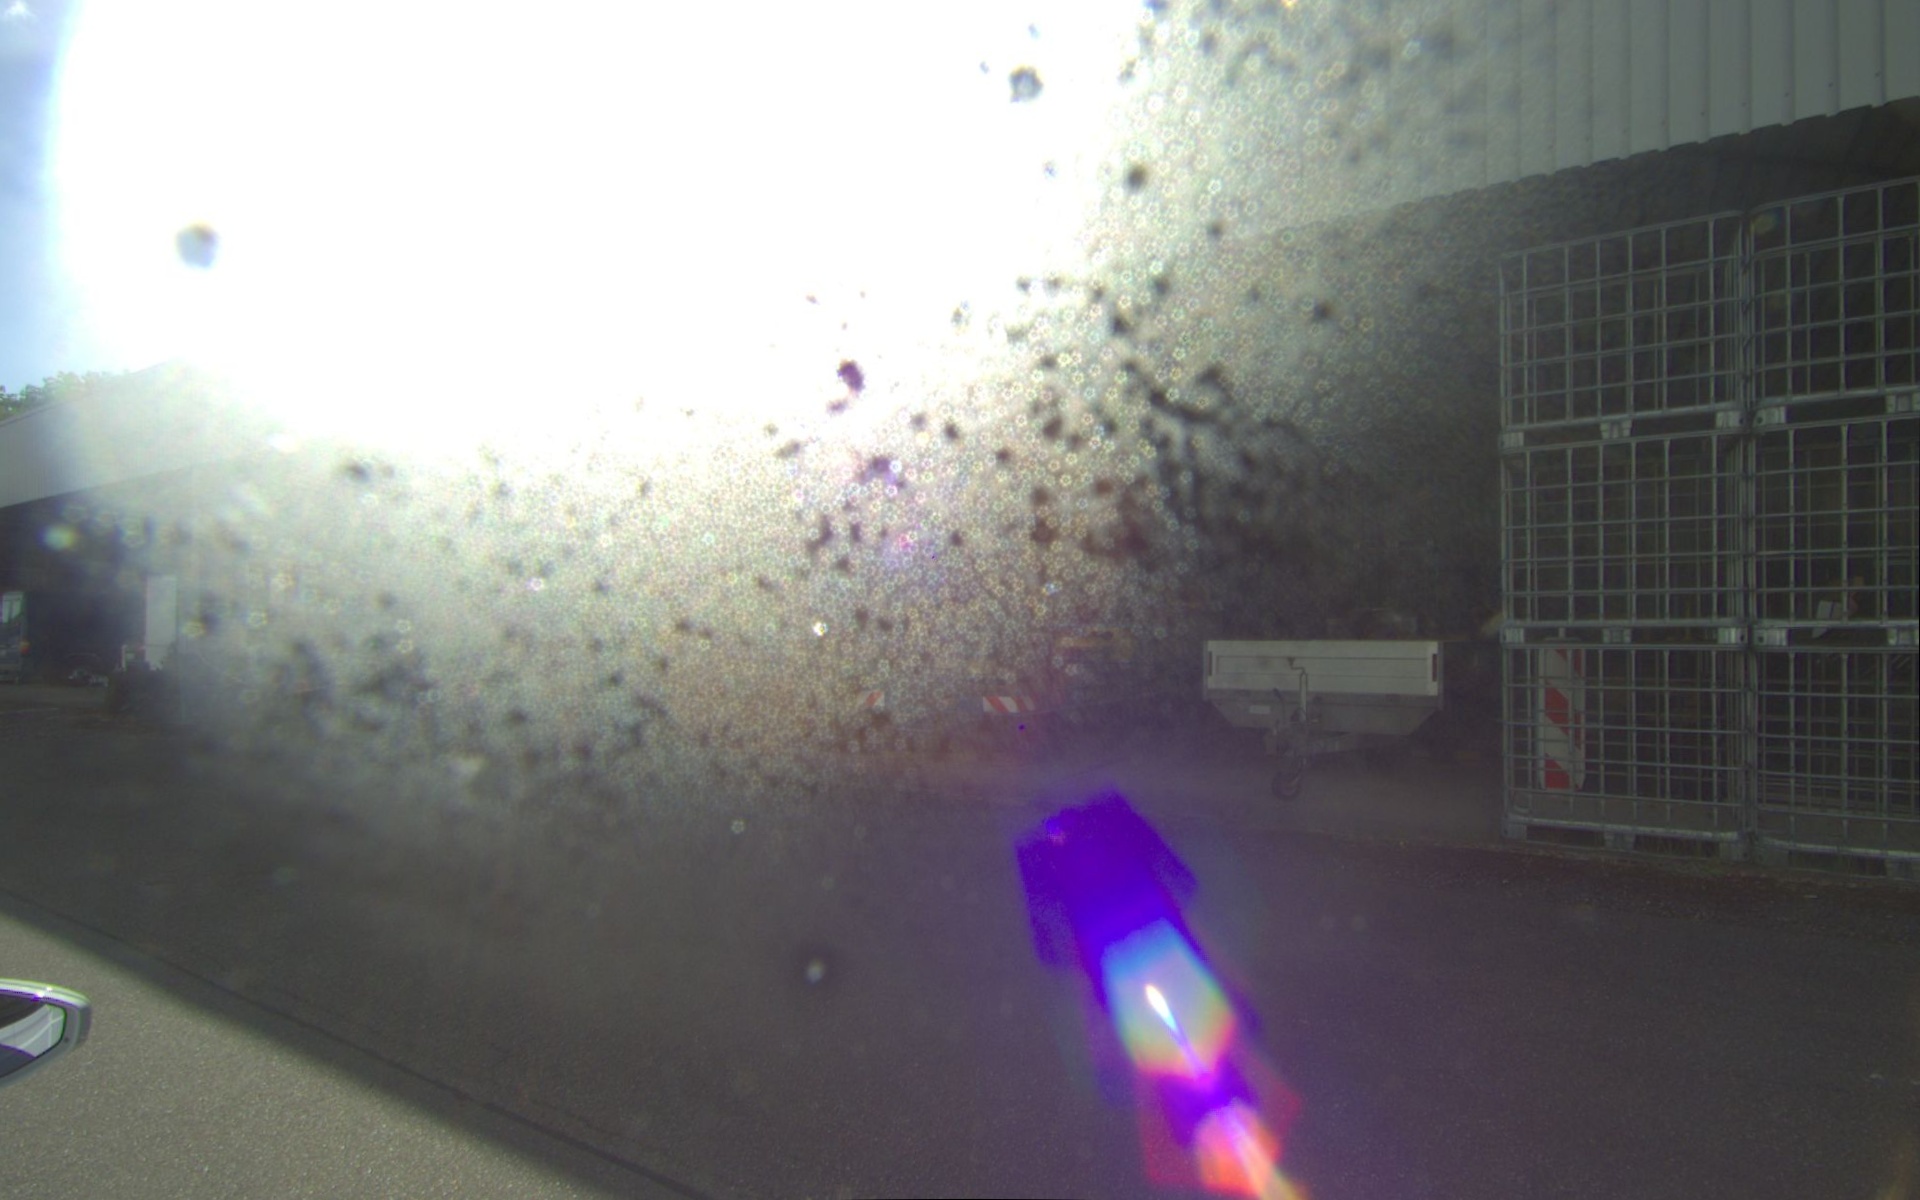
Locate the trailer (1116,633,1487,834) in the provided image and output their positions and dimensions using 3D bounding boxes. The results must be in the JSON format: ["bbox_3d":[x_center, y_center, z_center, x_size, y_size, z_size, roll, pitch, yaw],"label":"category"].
[{"bbox_3d":[3.496,0.916,9.177,2.110,1.148,5.840,-1,-1,30],"label":"trailer"}]

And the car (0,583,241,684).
[{"bbox_3d":[-21.378,0.933,25.642,1.890,2.337,4.425,-3,-4,33],"label":"car"}]

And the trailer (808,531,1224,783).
[{"bbox_3d":[1.004,0.522,11.158,2.049,2.058,5.753,-1,-1,33],"label":"trailer"}]

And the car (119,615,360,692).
[{"bbox_3d":[-15.886,1.223,22.297,1.662,1.543,4.031,-3,-5,33],"label":"car"}]

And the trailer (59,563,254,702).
[{"bbox_3d":[-15.271,0.629,19.097,1.703,2.429,2.518,-2,-2,33],"label":"trailer"}]

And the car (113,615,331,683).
[{"bbox_3d":[-18.225,1.249,24.913,1.662,1.543,4.031,-3,-5,33],"label":"car"}]
